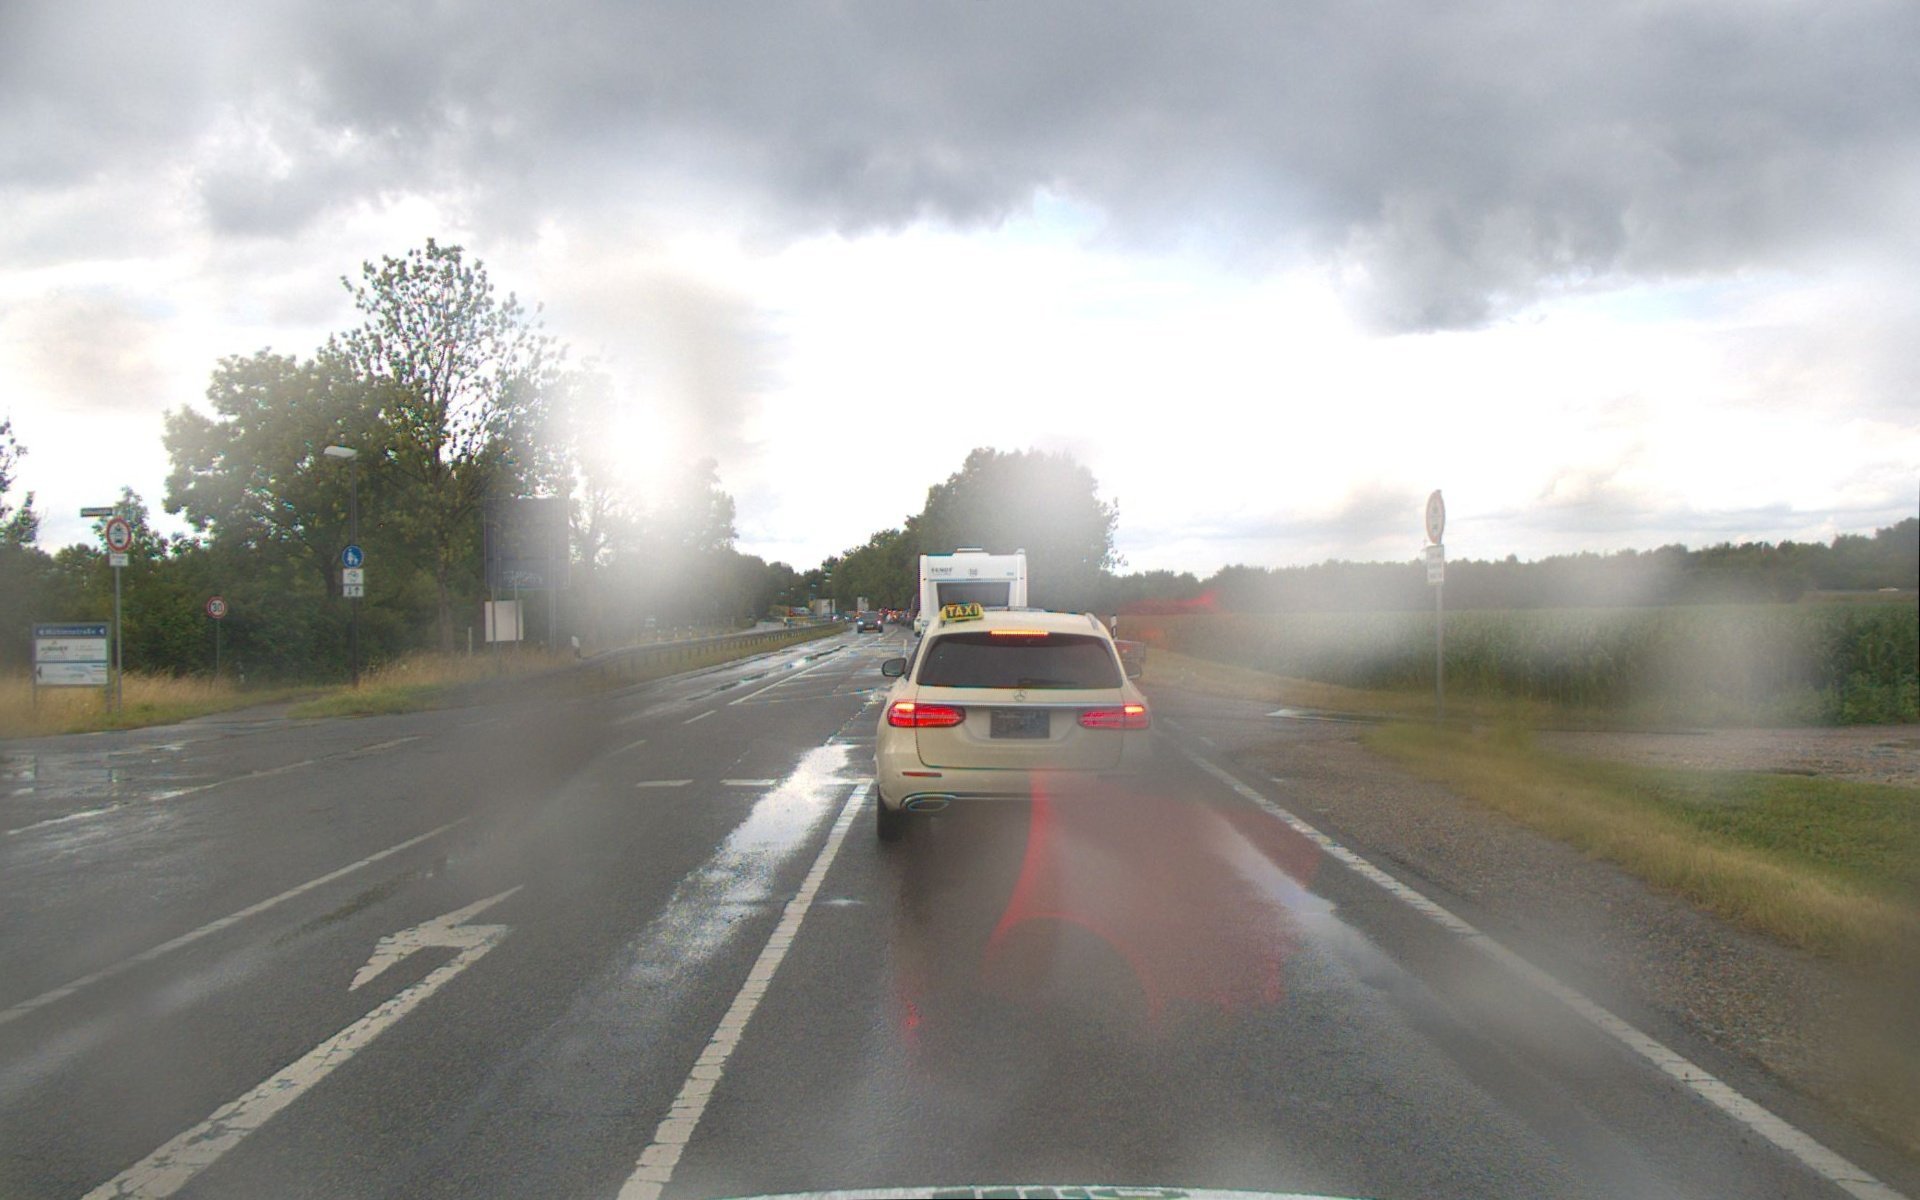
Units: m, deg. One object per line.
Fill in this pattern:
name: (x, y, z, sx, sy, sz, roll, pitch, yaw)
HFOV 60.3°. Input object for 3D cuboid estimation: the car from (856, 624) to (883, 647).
car: (-6.623, 2.575, 121.329, 1.791, 1.601, 3.999, 1, -1, 0)

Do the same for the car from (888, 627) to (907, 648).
car: (-6.219, 3.774, 165.355, 1.814, 2.049, 3.809, -1, -1, -1)

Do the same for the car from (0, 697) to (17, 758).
car: (-26.810, 3.399, 42.846, 2.256, 1.574, 4.629, 1, -1, -3)

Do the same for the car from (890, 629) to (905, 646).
car: (-7.222, 4.348, 191.069, 1.705, 1.892, 3.784, -1, -1, -1)

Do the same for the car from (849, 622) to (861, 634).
car: (-13.327, 3.514, 209.676, 1.576, 1.518, 3.782, -1, -1, -4)

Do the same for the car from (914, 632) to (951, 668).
car: (-1.498, 2.781, 92.424, 1.876, 1.873, 3.796, -1, -1, 1)

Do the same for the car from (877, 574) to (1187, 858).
car: (0.396, 0.706, 11.695, 1.805, 1.646, 3.999, 1, -1, -1)

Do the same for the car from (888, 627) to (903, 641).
car: (-7.902, 4.135, 201.983, 1.715, 1.691, 3.668, -1, -1, -5)

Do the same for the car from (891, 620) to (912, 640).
car: (-5.490, 2.821, 156.178, 1.841, 1.792, 3.833, -1, -1, -1)

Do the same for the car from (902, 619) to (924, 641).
car: (-3.929, 2.487, 137.536, 1.755, 1.808, 3.720, -1, -1, -1)

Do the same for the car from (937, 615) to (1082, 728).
car: (0.651, 1.011, 24.595, 1.953, 1.488, 3.999, 2, -1, -1)

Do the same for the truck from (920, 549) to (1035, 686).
truck: (0.306, 0.400, 37.655, 2.315, 2.777, 7.312, -1, -1, -1)
